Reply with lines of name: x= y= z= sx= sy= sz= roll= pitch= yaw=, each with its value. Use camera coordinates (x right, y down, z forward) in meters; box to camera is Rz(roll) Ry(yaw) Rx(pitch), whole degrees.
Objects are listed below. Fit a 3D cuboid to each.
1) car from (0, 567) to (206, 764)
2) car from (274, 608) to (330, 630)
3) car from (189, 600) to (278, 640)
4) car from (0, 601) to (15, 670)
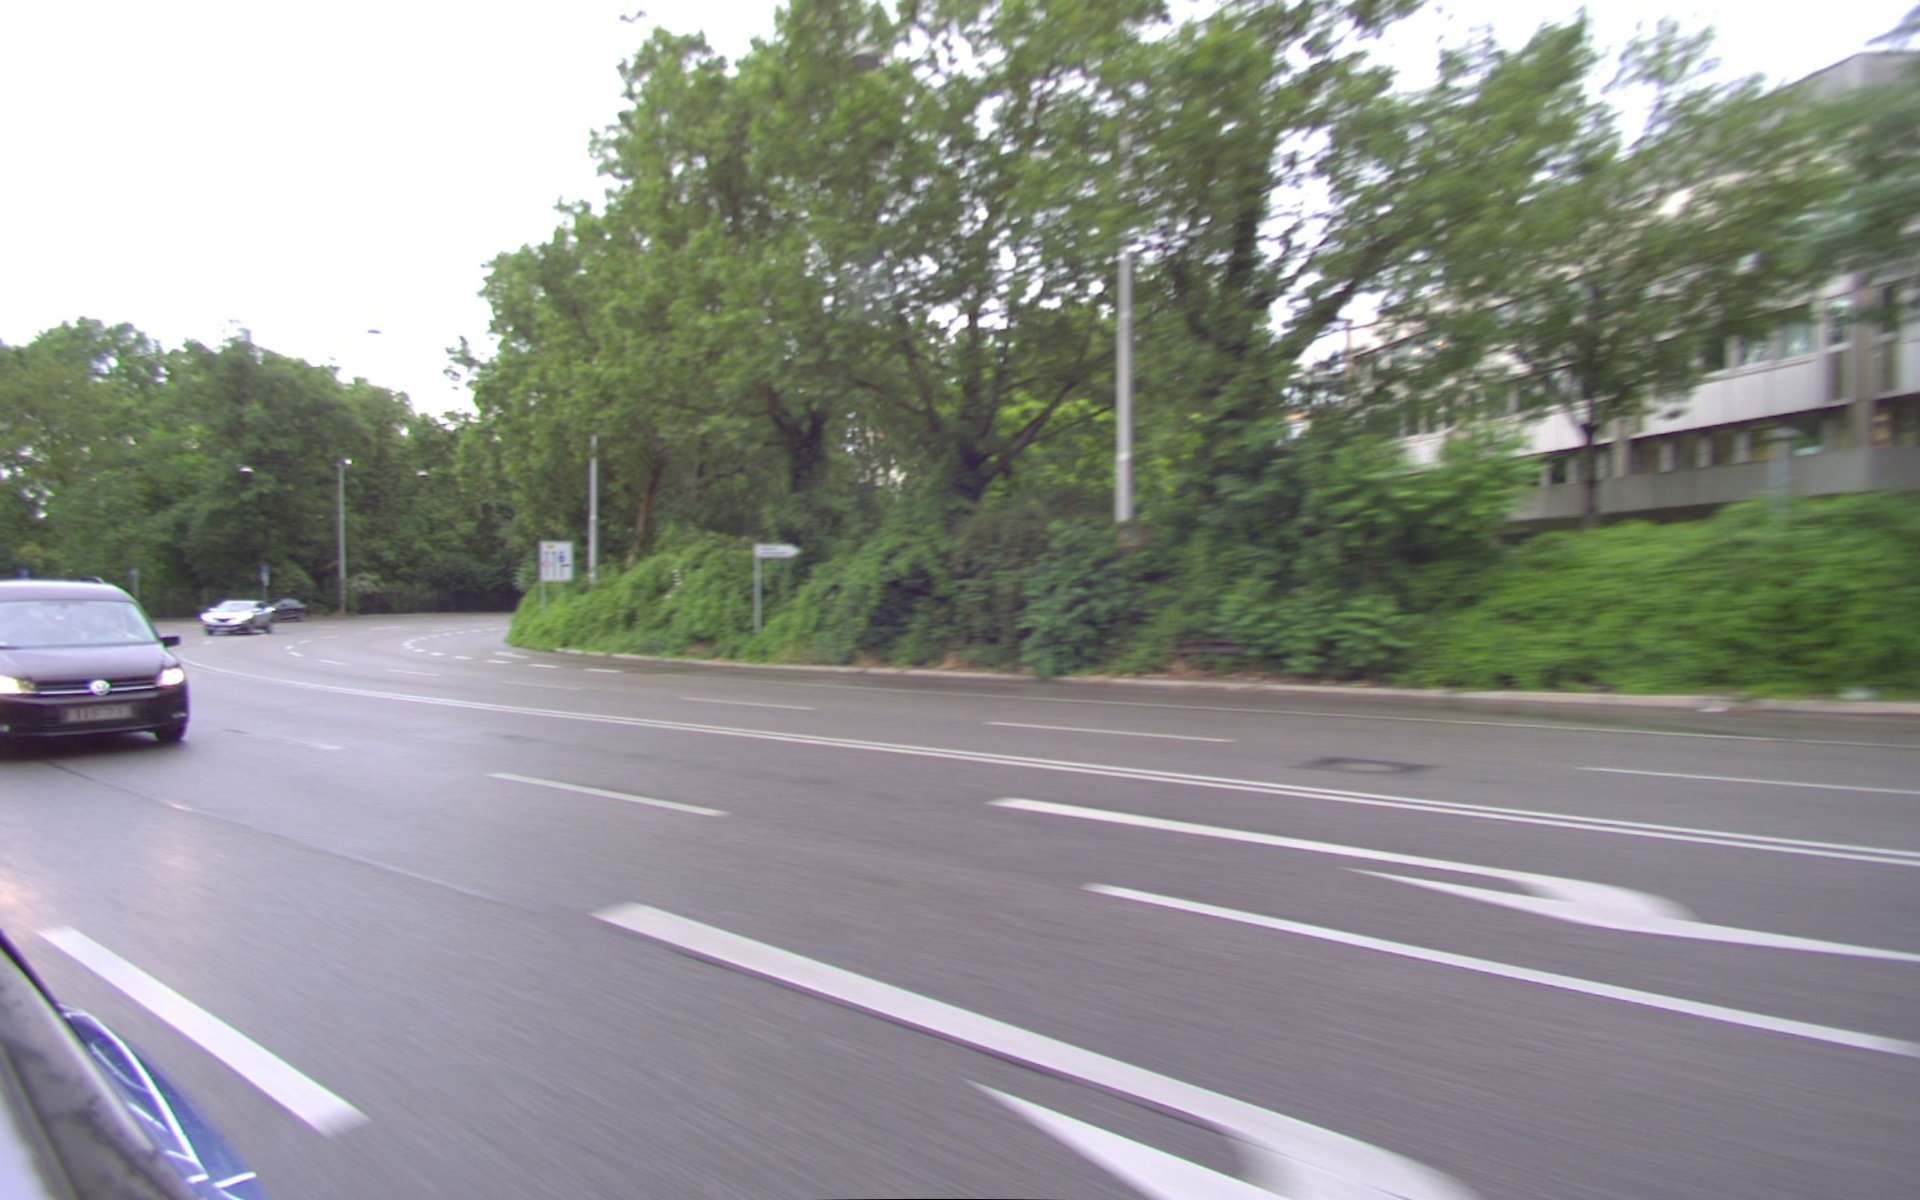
car: x=-10.043 y=0.629 z=11.161 sx=4.119 sy=1.813 sz=1.773 roll=-1 pitch=-1 yaw=38
car: x=-43.726 y=1.244 z=67.349 sx=1.563 sy=1.343 sz=3.102 roll=0 pitch=0 yaw=5
car: x=-34.436 y=0.903 z=48.103 sx=1.966 sy=1.758 sz=4.669 roll=0 pitch=0 yaw=-16
car: x=-23.878 y=0.827 z=24.025 sx=1.901 sy=1.552 sz=4.006 roll=-1 pitch=0 yaw=-40
